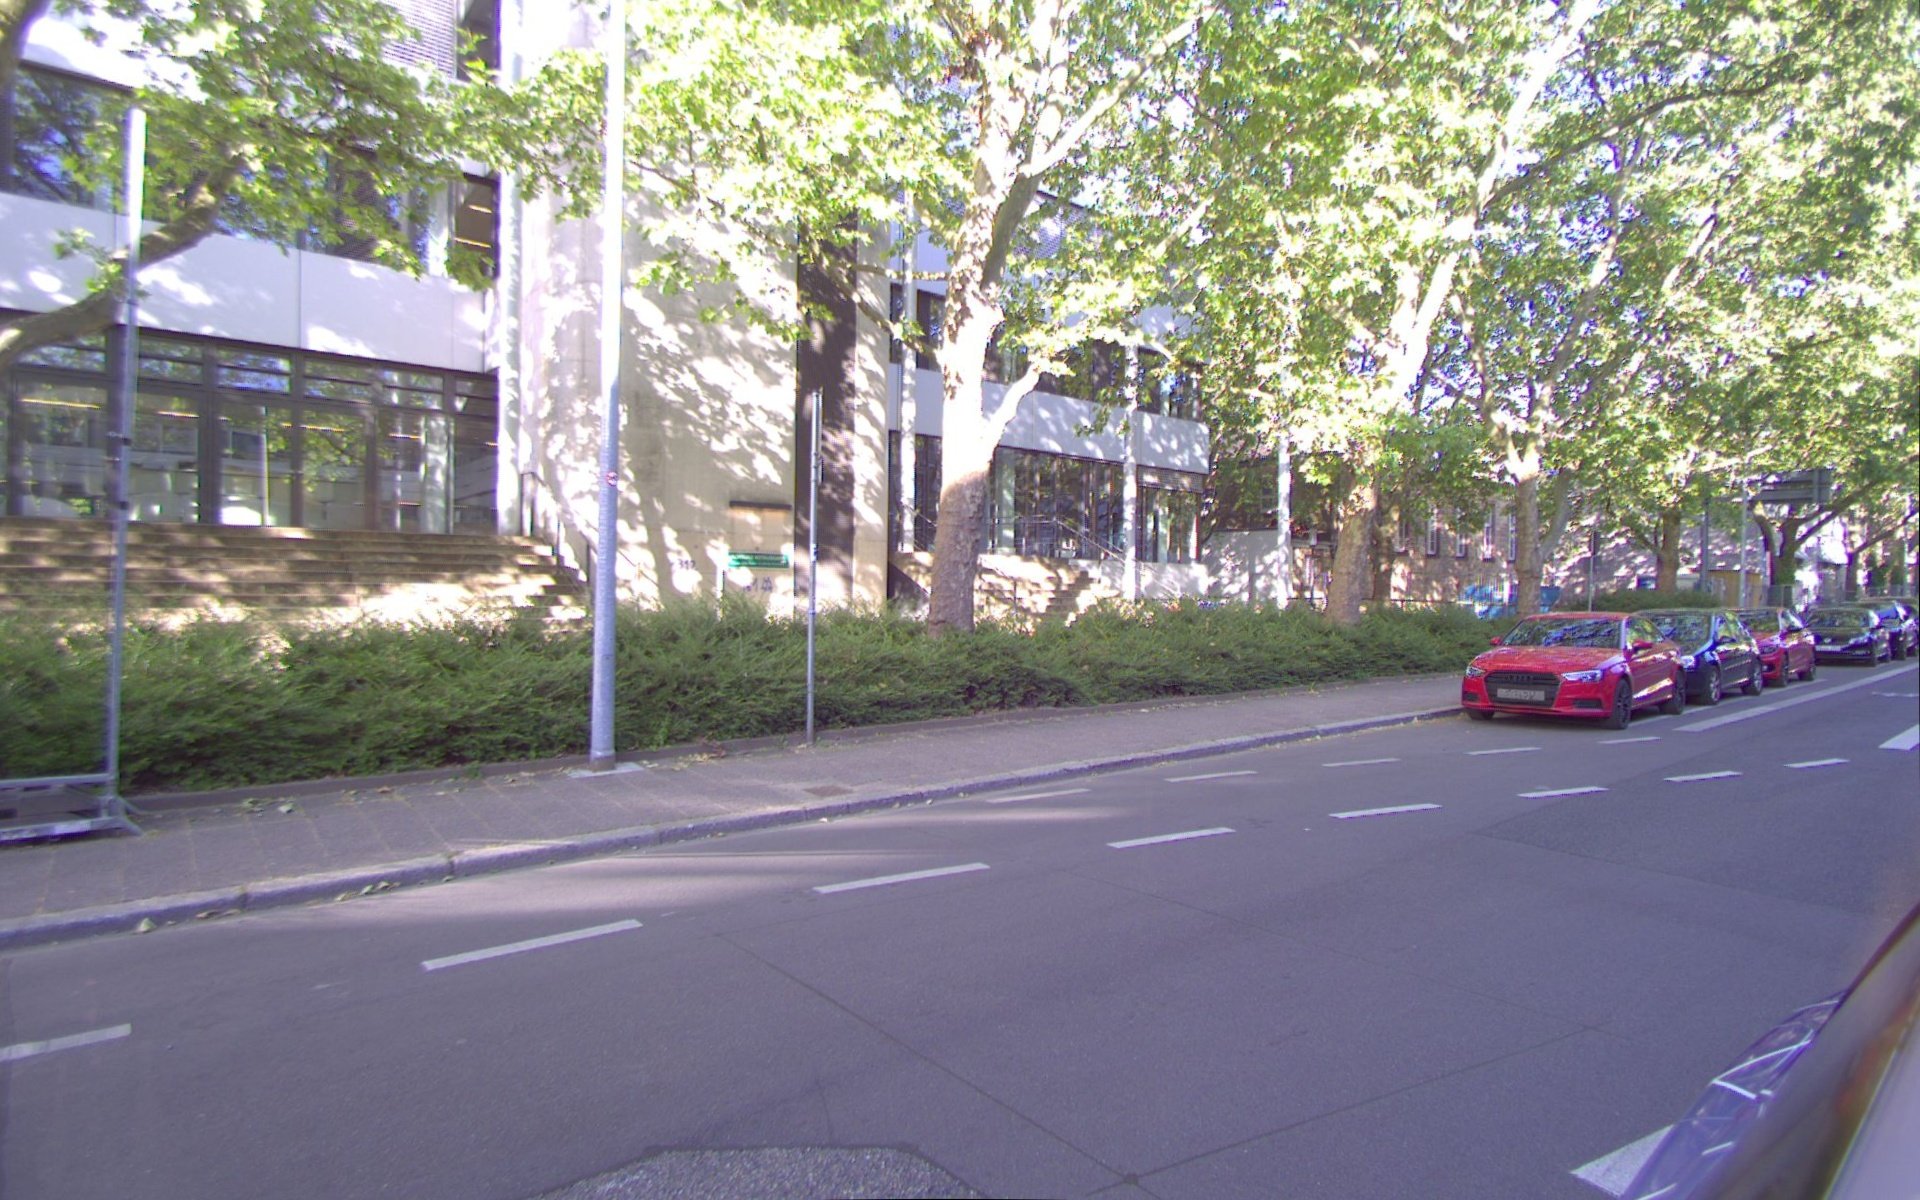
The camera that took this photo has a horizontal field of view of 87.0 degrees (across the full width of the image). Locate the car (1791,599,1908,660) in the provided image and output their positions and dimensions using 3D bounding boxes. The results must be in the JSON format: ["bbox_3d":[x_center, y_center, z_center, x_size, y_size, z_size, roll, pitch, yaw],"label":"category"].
[{"bbox_3d":[22.949,0.716,26.069,3.841,1.451,1.753,0,-1,-41],"label":"car"}]

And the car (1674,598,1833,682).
[{"bbox_3d":[15.704,0.721,19.970,3.841,1.486,1.753,0,-1,-41],"label":"car"}]

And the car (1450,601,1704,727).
[{"bbox_3d":[8.276,0.741,13.449,3.930,1.427,1.753,0,-1,-41],"label":"car"}]

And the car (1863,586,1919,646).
[{"bbox_3d":[30.973,0.486,32.973,4.370,1.843,1.753,0,-1,-41],"label":"car"}]

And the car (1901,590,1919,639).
[{"bbox_3d":[36.196,0.516,37.269,4.370,1.750,1.753,0,-1,-41],"label":"car"}]

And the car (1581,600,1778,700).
[{"bbox_3d":[11.852,0.739,16.594,3.841,1.451,1.753,0,-1,-41],"label":"car"}]

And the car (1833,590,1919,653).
[{"bbox_3d":[26.715,0.586,29.182,4.101,1.674,1.753,0,-1,-41],"label":"car"}]
